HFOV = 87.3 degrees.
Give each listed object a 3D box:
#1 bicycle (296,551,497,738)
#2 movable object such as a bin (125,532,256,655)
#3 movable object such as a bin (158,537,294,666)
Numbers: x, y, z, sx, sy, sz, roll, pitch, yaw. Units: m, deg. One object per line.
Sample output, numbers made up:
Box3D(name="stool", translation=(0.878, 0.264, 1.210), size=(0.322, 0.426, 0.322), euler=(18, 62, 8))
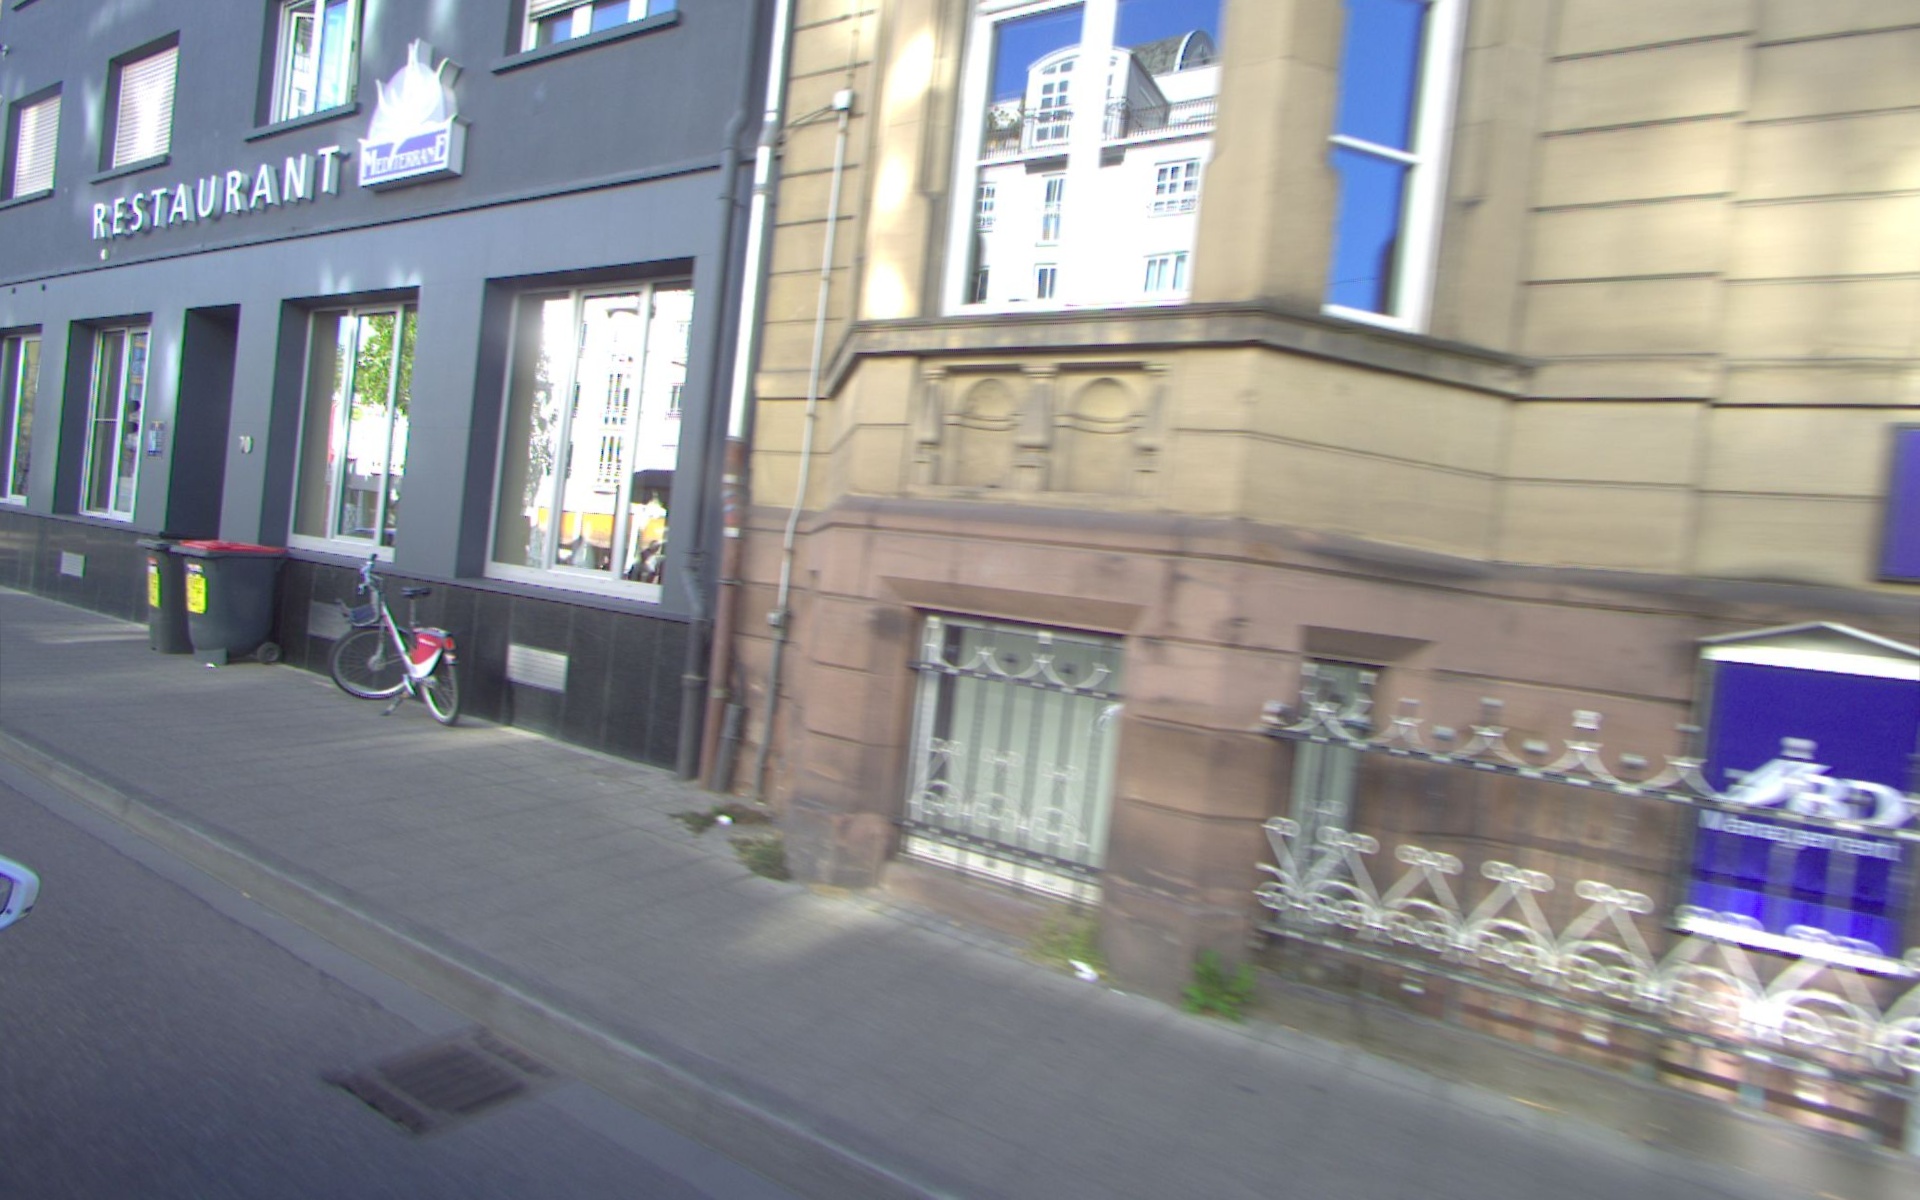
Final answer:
Box3D(name="bicycle", translation=(-4.204, 0.287, 7.450), size=(1.744, 1.138, 0.459), euler=(7, 3, 32))
Box3D(name="movable object such as a bin", translation=(-7.193, -0.069, 9.409), size=(0.741, 1.051, 0.748), euler=(7, 5, 32))
Box3D(name="movable object such as a bin", translation=(-6.571, 0.003, 9.013), size=(0.741, 1.051, 0.748), euler=(7, 5, 32))
